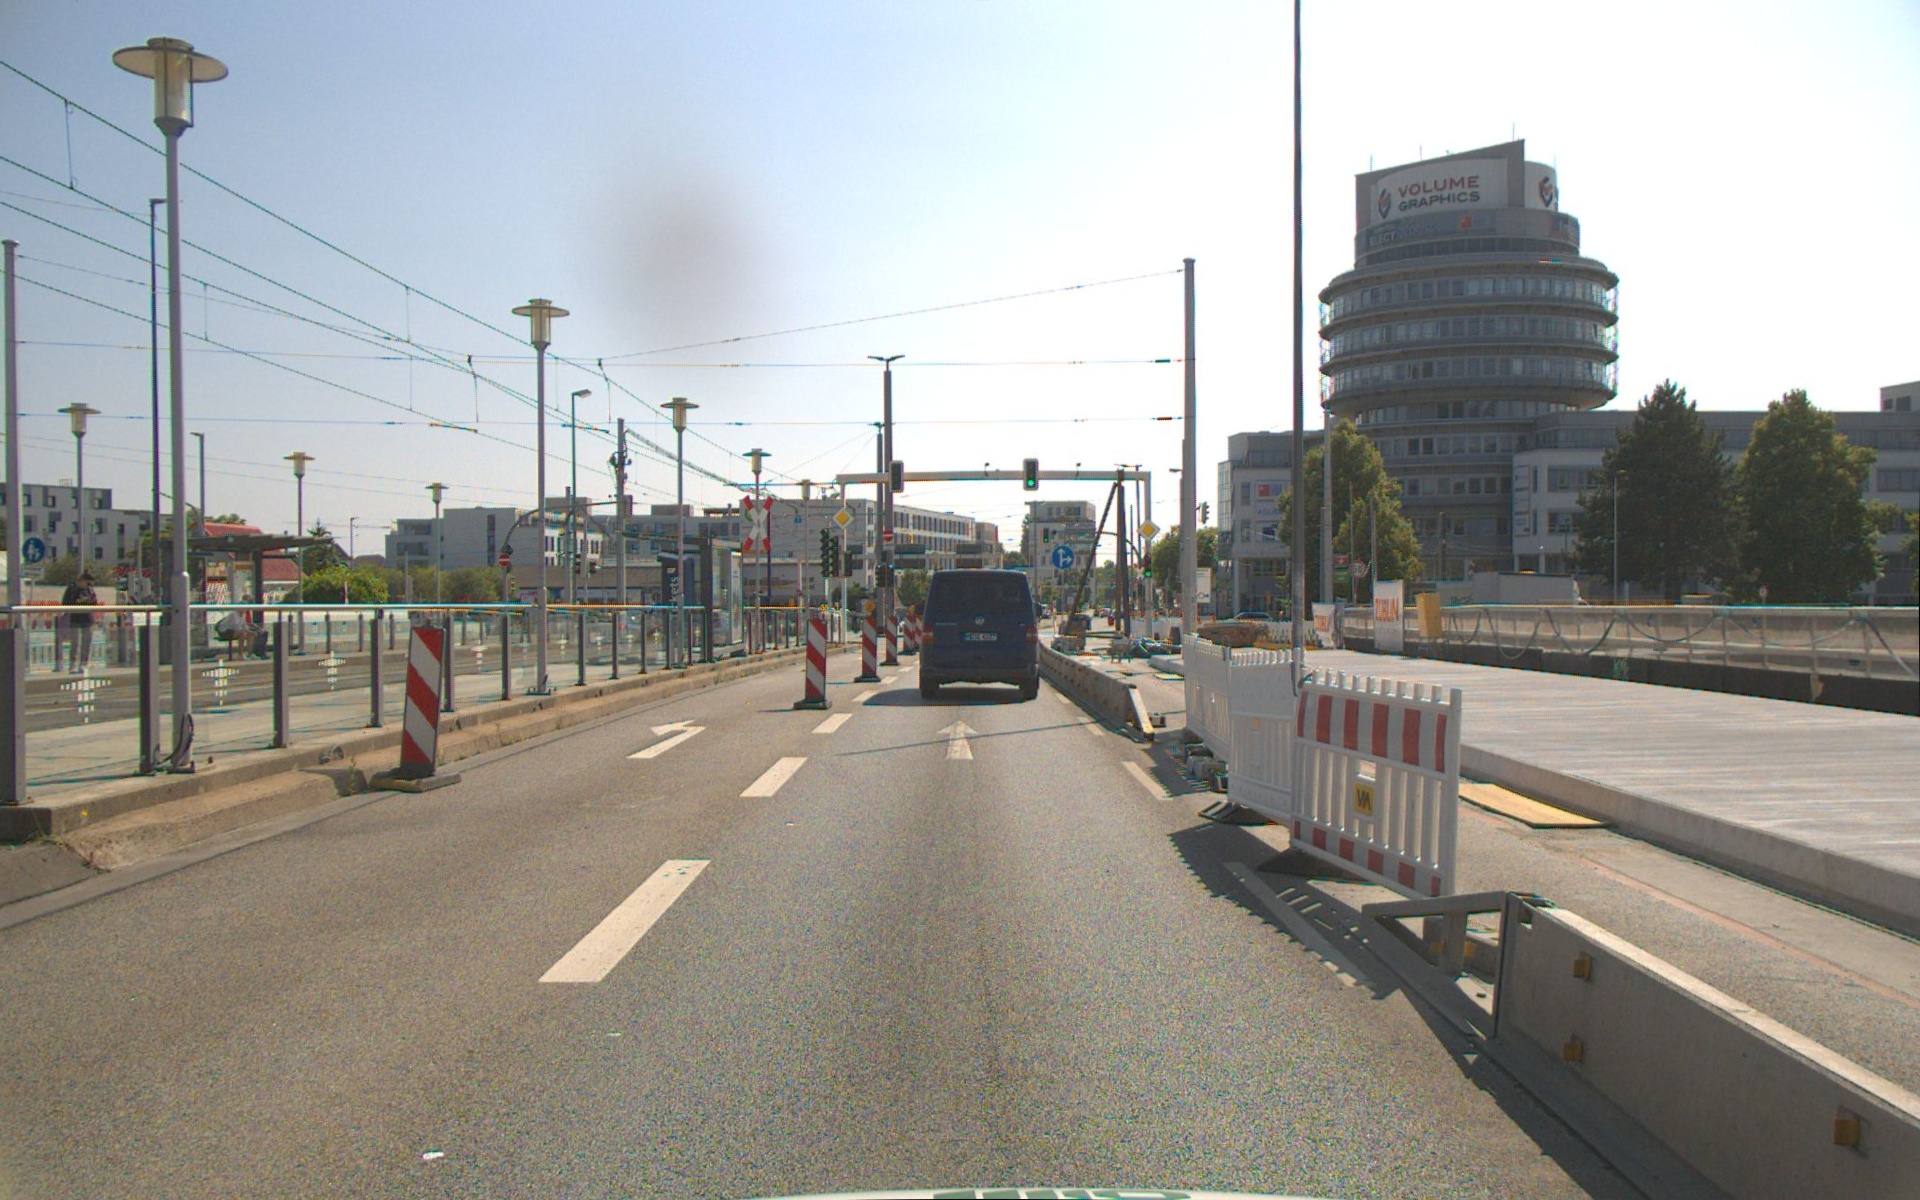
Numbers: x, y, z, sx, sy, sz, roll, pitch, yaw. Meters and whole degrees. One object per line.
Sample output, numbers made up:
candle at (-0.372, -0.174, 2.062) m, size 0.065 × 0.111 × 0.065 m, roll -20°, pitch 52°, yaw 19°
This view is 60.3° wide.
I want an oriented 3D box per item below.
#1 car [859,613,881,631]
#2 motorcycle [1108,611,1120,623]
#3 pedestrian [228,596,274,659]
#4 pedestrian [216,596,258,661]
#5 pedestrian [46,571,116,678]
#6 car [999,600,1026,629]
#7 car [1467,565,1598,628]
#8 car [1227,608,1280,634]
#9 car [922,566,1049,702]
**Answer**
car at (-8.019, 1.939, 147.258) m, size 1.711 × 1.512 × 3.999 m, roll -1°, pitch 0°, yaw -1°
motorcycle at (16.984, 1.830, 181.806) m, size 1.137 × 1.264 × 3.010 m, roll 1°, pitch 1°, yaw 8°
pedestrian at (-14.570, 0.559, 34.002) m, size 0.634 × 1.296 × 0.697 m, roll 0°, pitch 0°, yaw 3°
pedestrian at (-14.606, 0.569, 33.417) m, size 0.634 × 1.296 × 0.453 m, roll 0°, pitch 0°, yaw 3°
pedestrian at (-14.033, 0.388, 26.416) m, size 0.646 × 1.683 × 0.740 m, roll 0°, pitch 0°, yaw 11°
car at (3.298, 0.905, 103.613) m, size 1.611 × 1.758 × 3.718 m, roll 1°, pitch 0°, yaw 3°
car at (27.989, -0.174, 80.860) m, size 5.858 × 2.937 × 2.335 m, roll 1°, pitch 1°, yaw -18°
car at (22.320, 1.587, 125.796) m, size 3.734 × 1.829 × 1.681 m, roll 1°, pitch 1°, yaw 1°
car at (0.407, 0.478, 26.605) m, size 1.849 × 1.968 × 4.001 m, roll 1°, pitch 1°, yaw 1°
